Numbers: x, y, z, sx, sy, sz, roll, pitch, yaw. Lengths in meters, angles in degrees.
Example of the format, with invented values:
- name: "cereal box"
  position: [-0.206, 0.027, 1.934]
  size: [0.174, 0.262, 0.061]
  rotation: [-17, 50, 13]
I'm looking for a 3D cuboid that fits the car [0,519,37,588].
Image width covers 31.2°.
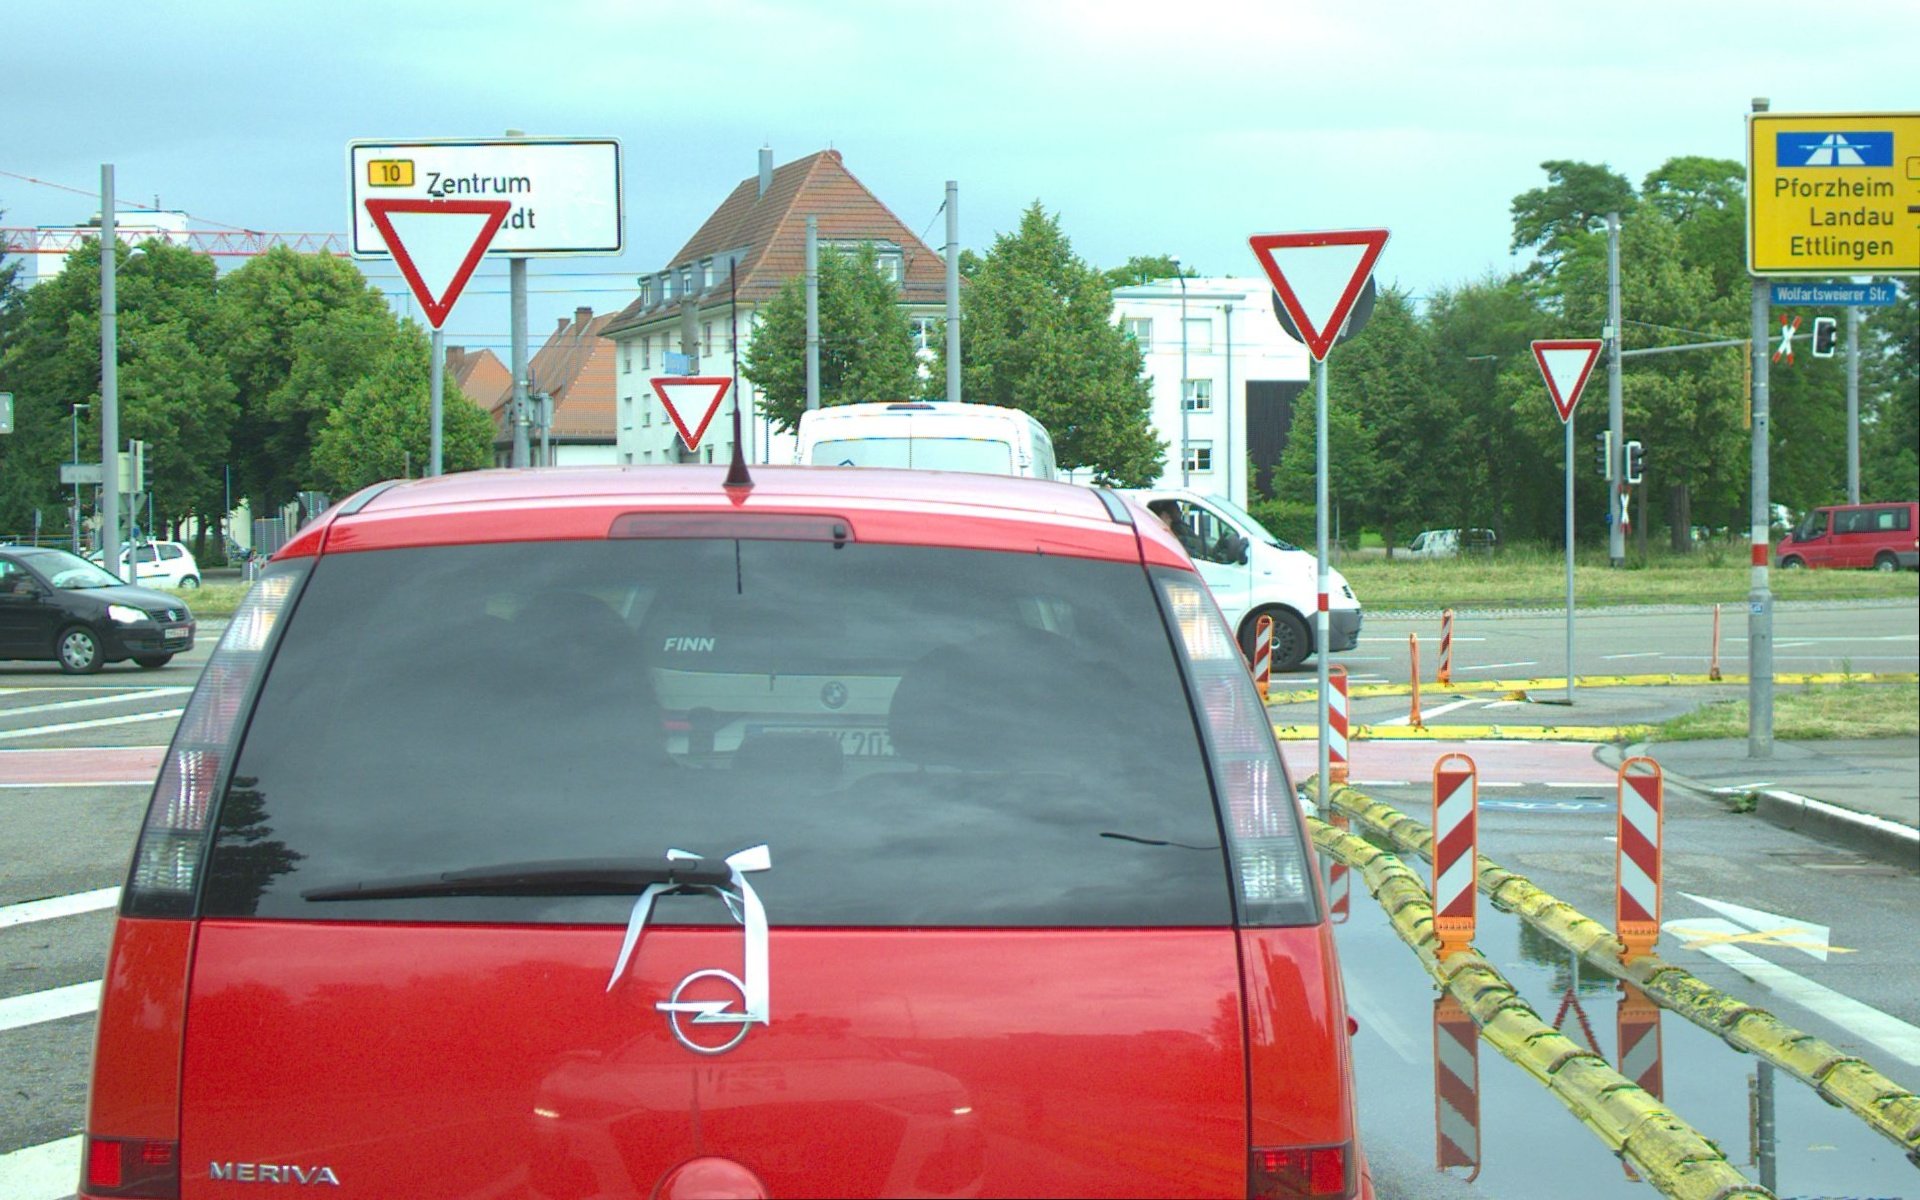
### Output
- name: "car"
  position: [-24.202, -1.060, 80.761]
  size: [1.997, 1.629, 4.666]
  rotation: [0, 1, 35]

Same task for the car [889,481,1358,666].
- name: "car"
  position: [1.803, -0.293, 36.978]
  size: [4.834, 1.893, 2.098]
  rotation: [0, 1, 9]

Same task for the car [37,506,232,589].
- name: "car"
  position: [-20.441, -1.321, 85.290]
  size: [1.997, 2.007, 4.471]
  rotation: [0, 1, 35]

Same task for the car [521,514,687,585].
- name: "car"
  position: [-10.492, -1.505, 101.325]
  size: [4.462, 2.007, 2.001]
  rotation: [-1, 1, -23]

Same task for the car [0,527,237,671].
- name: "car"
  position: [-10.926, -0.019, 40.062]
  size: [4.430, 1.597, 2.097]
  rotation: [0, 1, 18]

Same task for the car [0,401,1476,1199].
- name: "car"
  position: [-0.316, 0.574, 5.497]
  size: [1.673, 1.635, 3.627]
  rotation: [1, 1, -1]

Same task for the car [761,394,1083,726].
- name: "car"
  position: [-0.206, -0.366, 28.952]
  size: [2.195, 2.531, 4.961]
  rotation: [1, 1, 5]

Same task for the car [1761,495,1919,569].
- name: "car"
  position: [23.794, -1.792, 90.826]
  size: [2.109, 1.911, 4.889]
  rotation: [-2, 1, -38]

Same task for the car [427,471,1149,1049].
- name: "car"
  position: [-0.524, 0.414, 12.196]
  size: [2.059, 1.642, 4.607]
  rotation: [1, 1, -1]
